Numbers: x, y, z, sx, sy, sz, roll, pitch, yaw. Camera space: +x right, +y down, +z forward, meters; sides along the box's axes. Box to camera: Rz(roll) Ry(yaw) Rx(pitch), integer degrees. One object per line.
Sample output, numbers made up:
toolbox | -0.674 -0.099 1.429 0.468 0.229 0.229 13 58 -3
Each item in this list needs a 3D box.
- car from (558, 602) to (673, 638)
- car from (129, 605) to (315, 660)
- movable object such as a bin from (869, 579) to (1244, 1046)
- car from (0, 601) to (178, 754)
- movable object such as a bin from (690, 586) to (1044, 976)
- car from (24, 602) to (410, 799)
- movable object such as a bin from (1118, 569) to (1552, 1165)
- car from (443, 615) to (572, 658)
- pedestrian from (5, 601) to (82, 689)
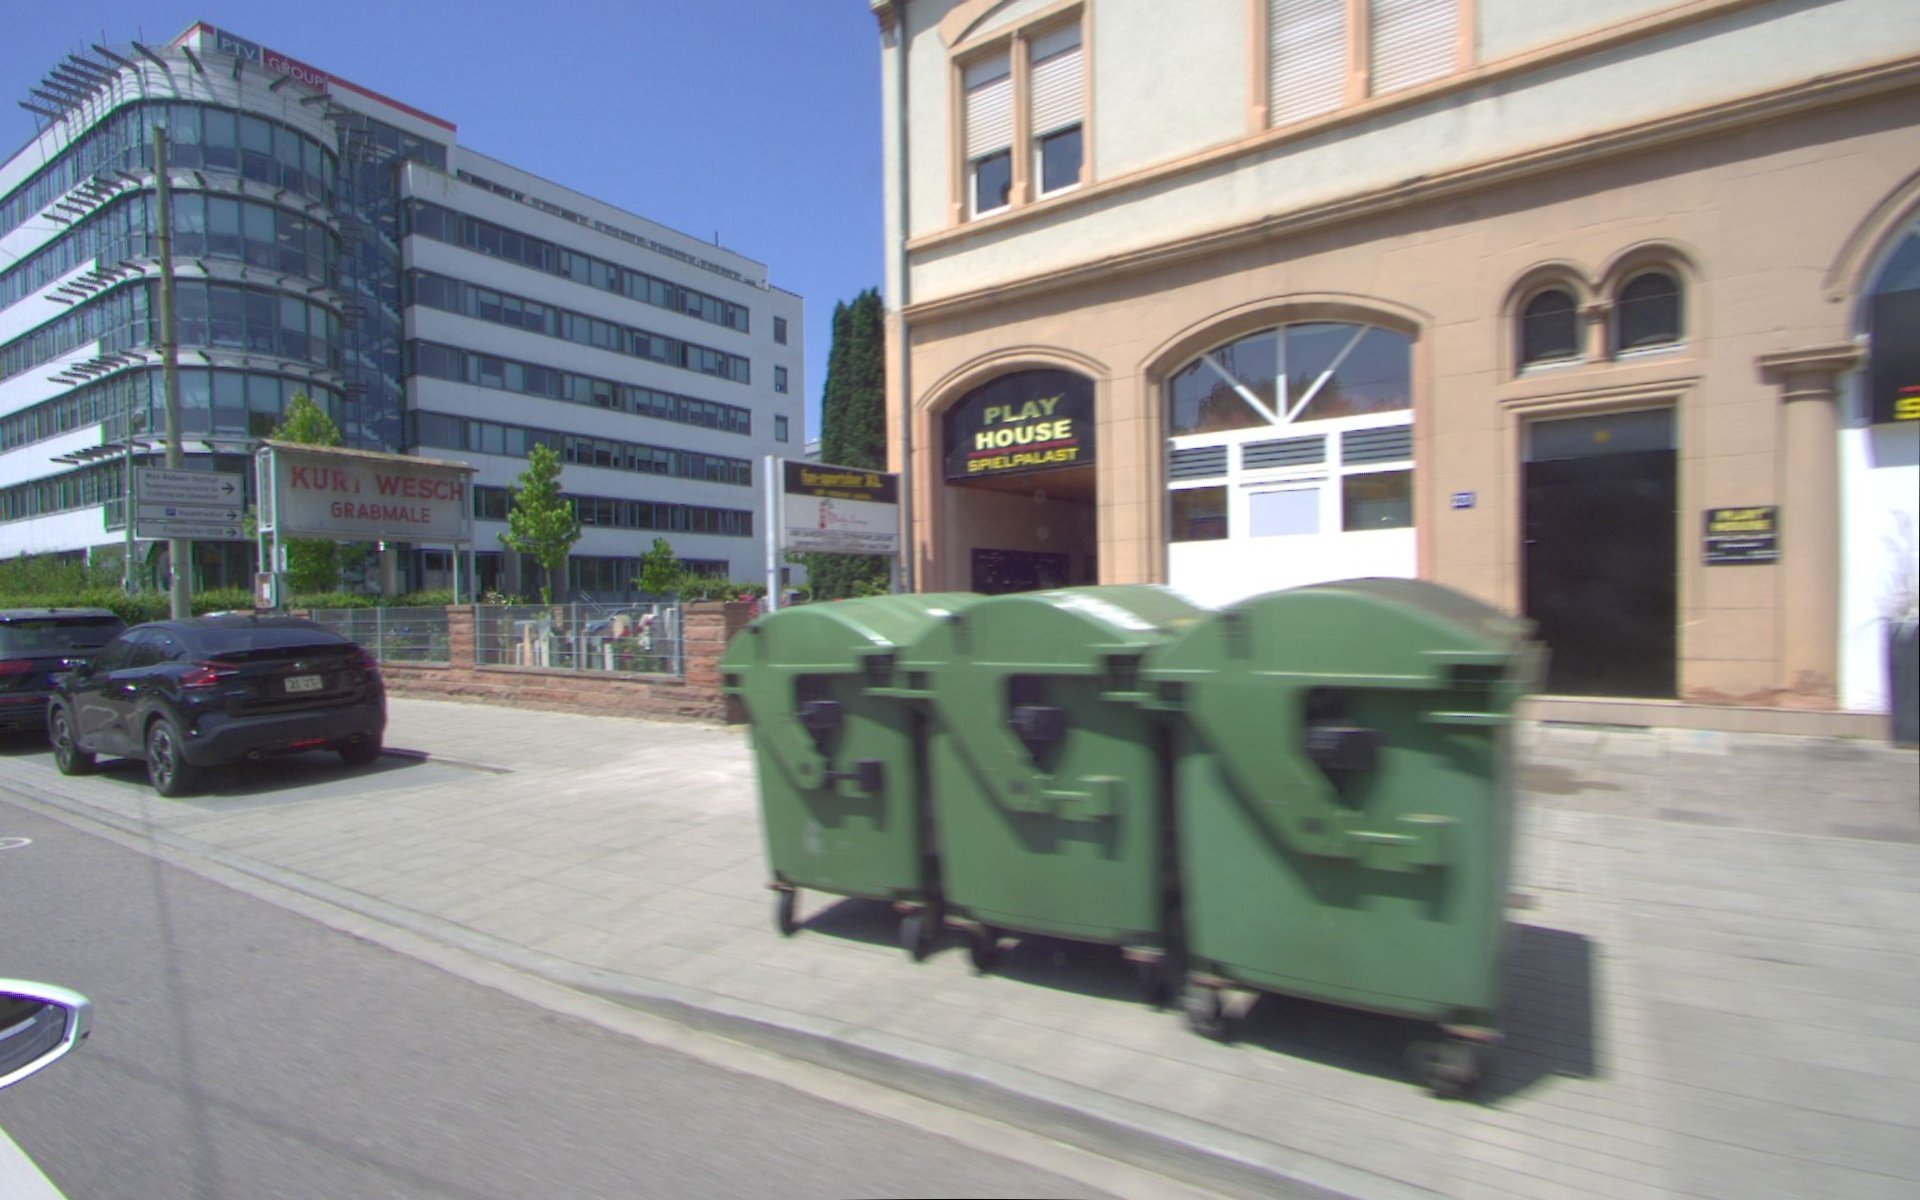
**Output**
car | -14.359 0.806 41.936 1.743 1.428 4.440 -1 0 33
car | -21.918 0.918 29.882 1.795 1.479 4.133 0 0 37
movable object such as a bin | 0.443 0.680 3.998 1.042 1.475 1.244 0 3 30
car | -12.741 0.929 13.597 5.013 1.716 1.918 -1 2 35
movable object such as a bin | -0.375 0.701 4.684 1.042 1.475 1.321 0 2 30
car | -7.681 0.878 10.229 4.407 1.569 1.767 -1 1 34
movable object such as a bin | 1.326 0.657 3.365 1.122 1.475 1.389 0 2 30
car | -16.953 1.329 37.691 1.742 1.428 4.140 -1 0 32
pedestrian | -17.934 0.860 19.603 0.721 1.689 0.839 0 0 13
